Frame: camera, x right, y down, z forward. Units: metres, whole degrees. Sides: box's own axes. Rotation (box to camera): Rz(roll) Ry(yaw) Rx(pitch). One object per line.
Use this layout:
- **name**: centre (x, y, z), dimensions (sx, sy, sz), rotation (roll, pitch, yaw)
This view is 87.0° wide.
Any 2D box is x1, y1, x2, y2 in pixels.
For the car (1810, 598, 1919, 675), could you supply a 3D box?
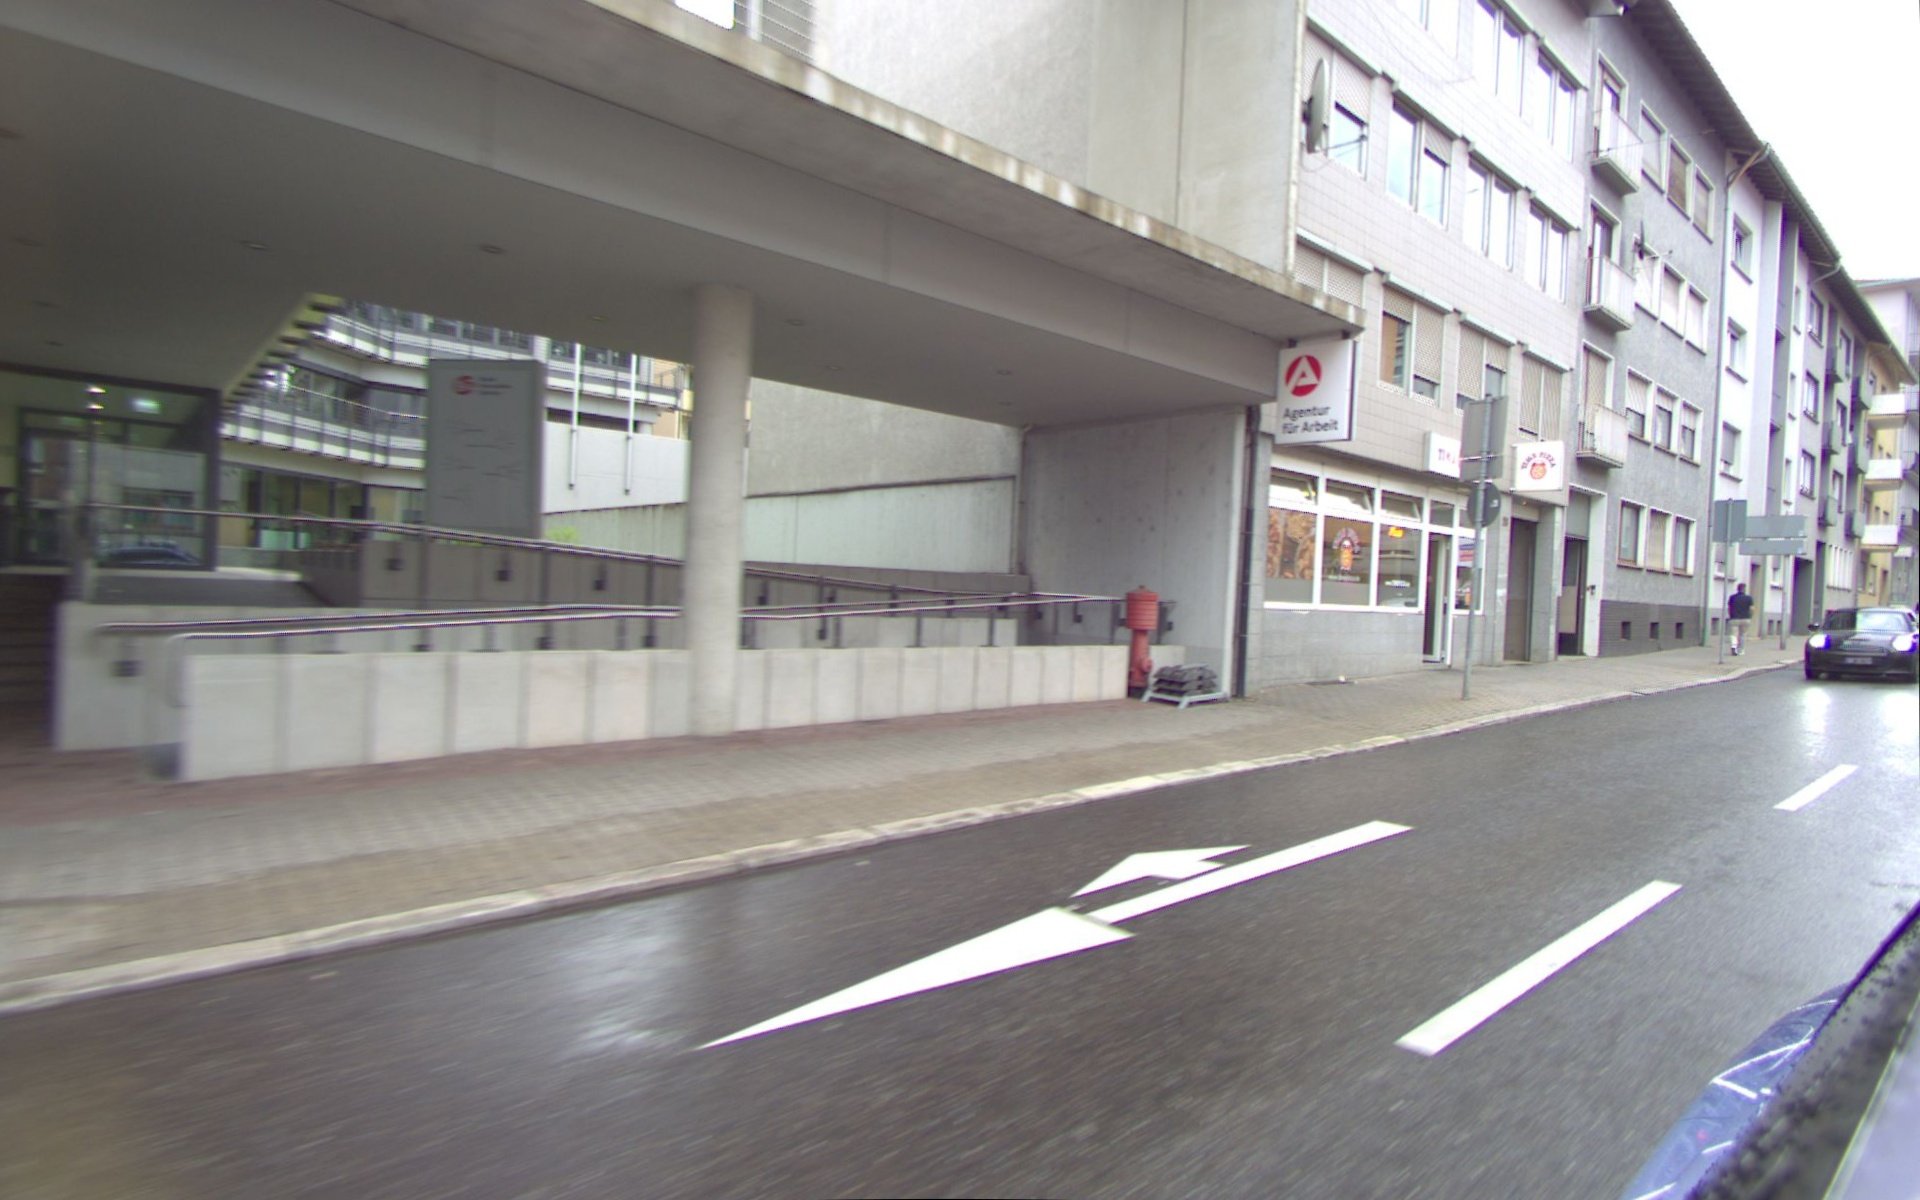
- **car**: centre (19.005, 0.677, 20.681), dimensions (4.144, 1.394, 1.854), rotation (-1, 0, -41)

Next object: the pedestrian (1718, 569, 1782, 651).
- **pedestrian**: centre (19.343, 0.215, 24.779), dimensions (1.100, 1.887, 0.871), rotation (-1, 6, -40)
